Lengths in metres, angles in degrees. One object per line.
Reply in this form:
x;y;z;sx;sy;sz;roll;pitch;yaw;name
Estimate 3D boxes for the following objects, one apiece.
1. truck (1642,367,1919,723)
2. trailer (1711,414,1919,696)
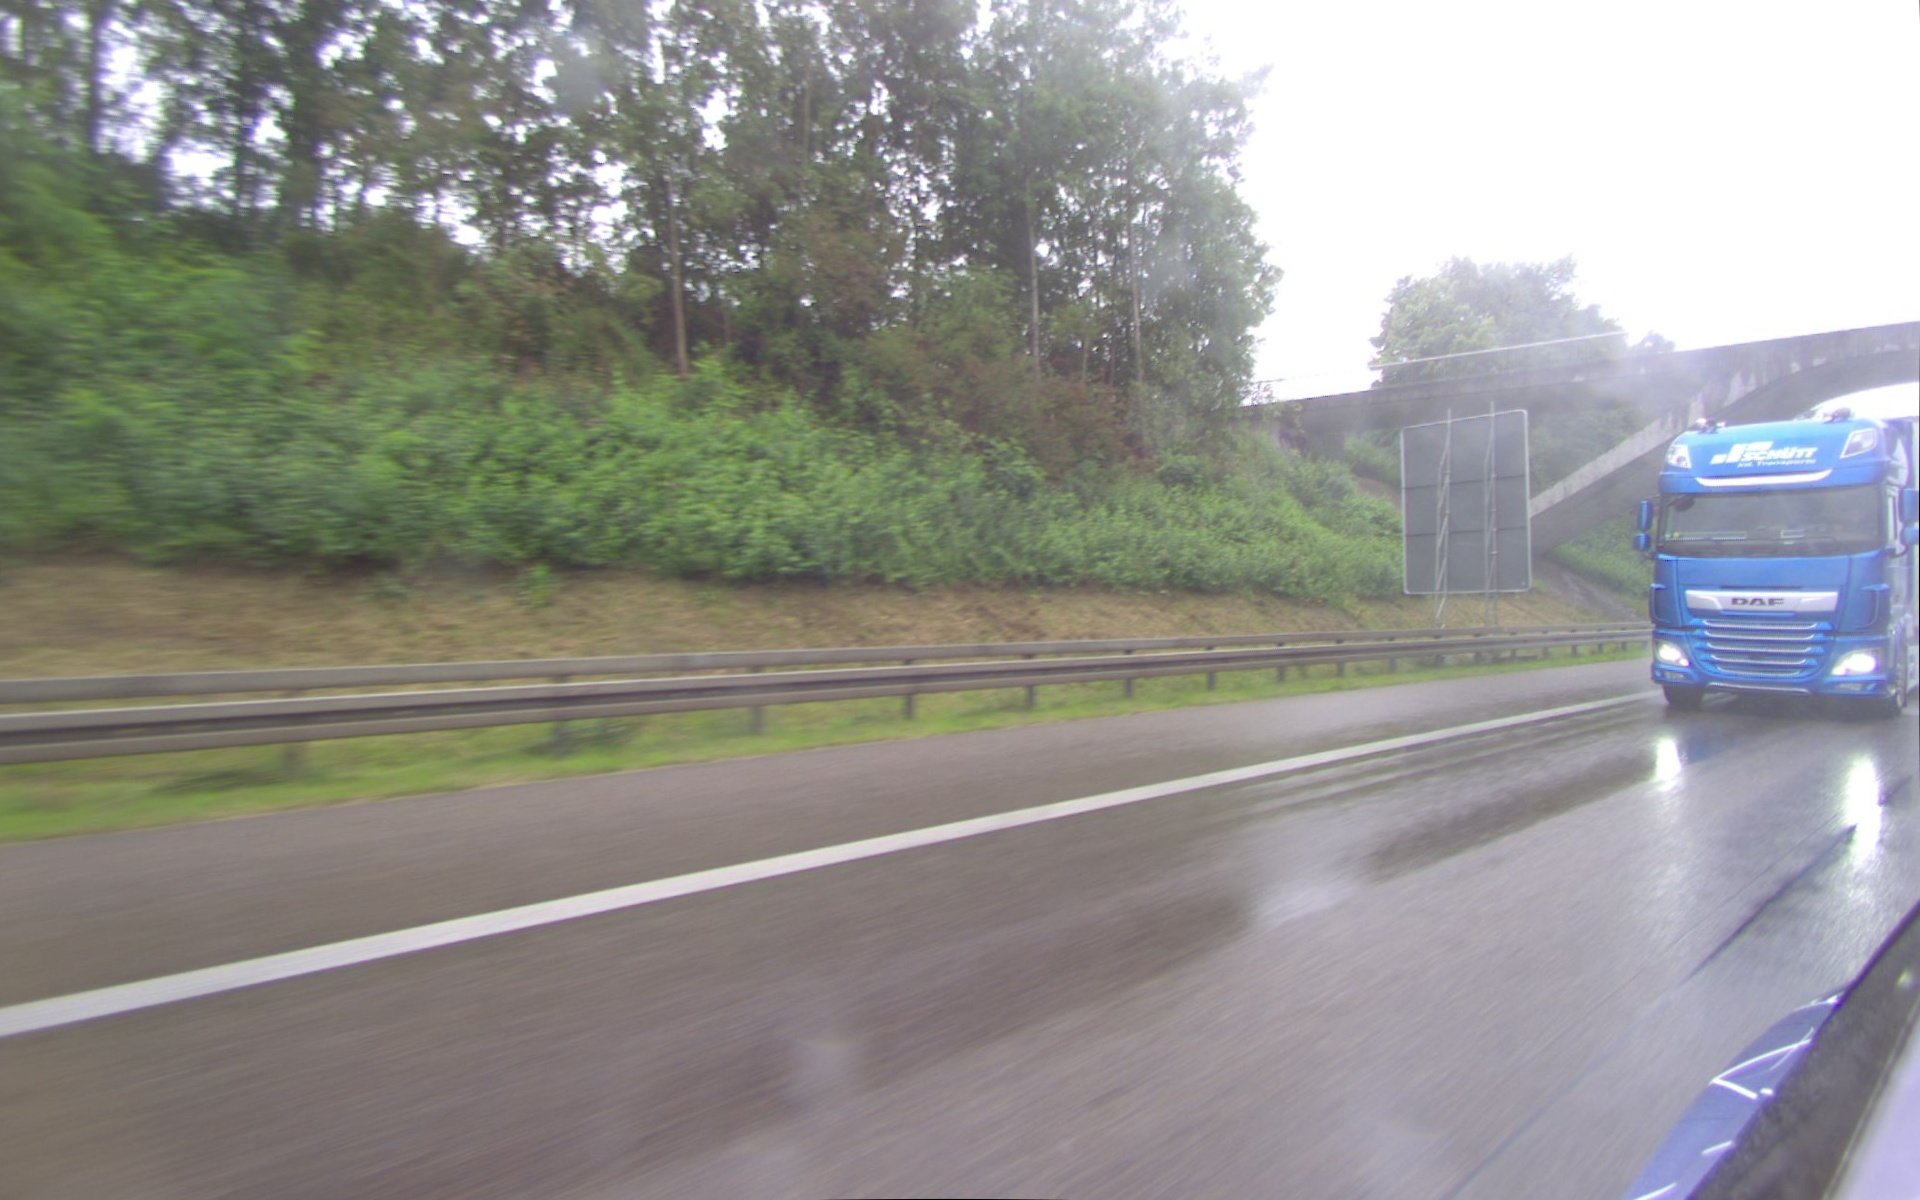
12.638;-0.685;14.897;6.369;4.129;2.753;-1;1;-41;truck
18.209;-0.714;19.787;13.882;4.014;2.749;-1;0;-41;trailer
